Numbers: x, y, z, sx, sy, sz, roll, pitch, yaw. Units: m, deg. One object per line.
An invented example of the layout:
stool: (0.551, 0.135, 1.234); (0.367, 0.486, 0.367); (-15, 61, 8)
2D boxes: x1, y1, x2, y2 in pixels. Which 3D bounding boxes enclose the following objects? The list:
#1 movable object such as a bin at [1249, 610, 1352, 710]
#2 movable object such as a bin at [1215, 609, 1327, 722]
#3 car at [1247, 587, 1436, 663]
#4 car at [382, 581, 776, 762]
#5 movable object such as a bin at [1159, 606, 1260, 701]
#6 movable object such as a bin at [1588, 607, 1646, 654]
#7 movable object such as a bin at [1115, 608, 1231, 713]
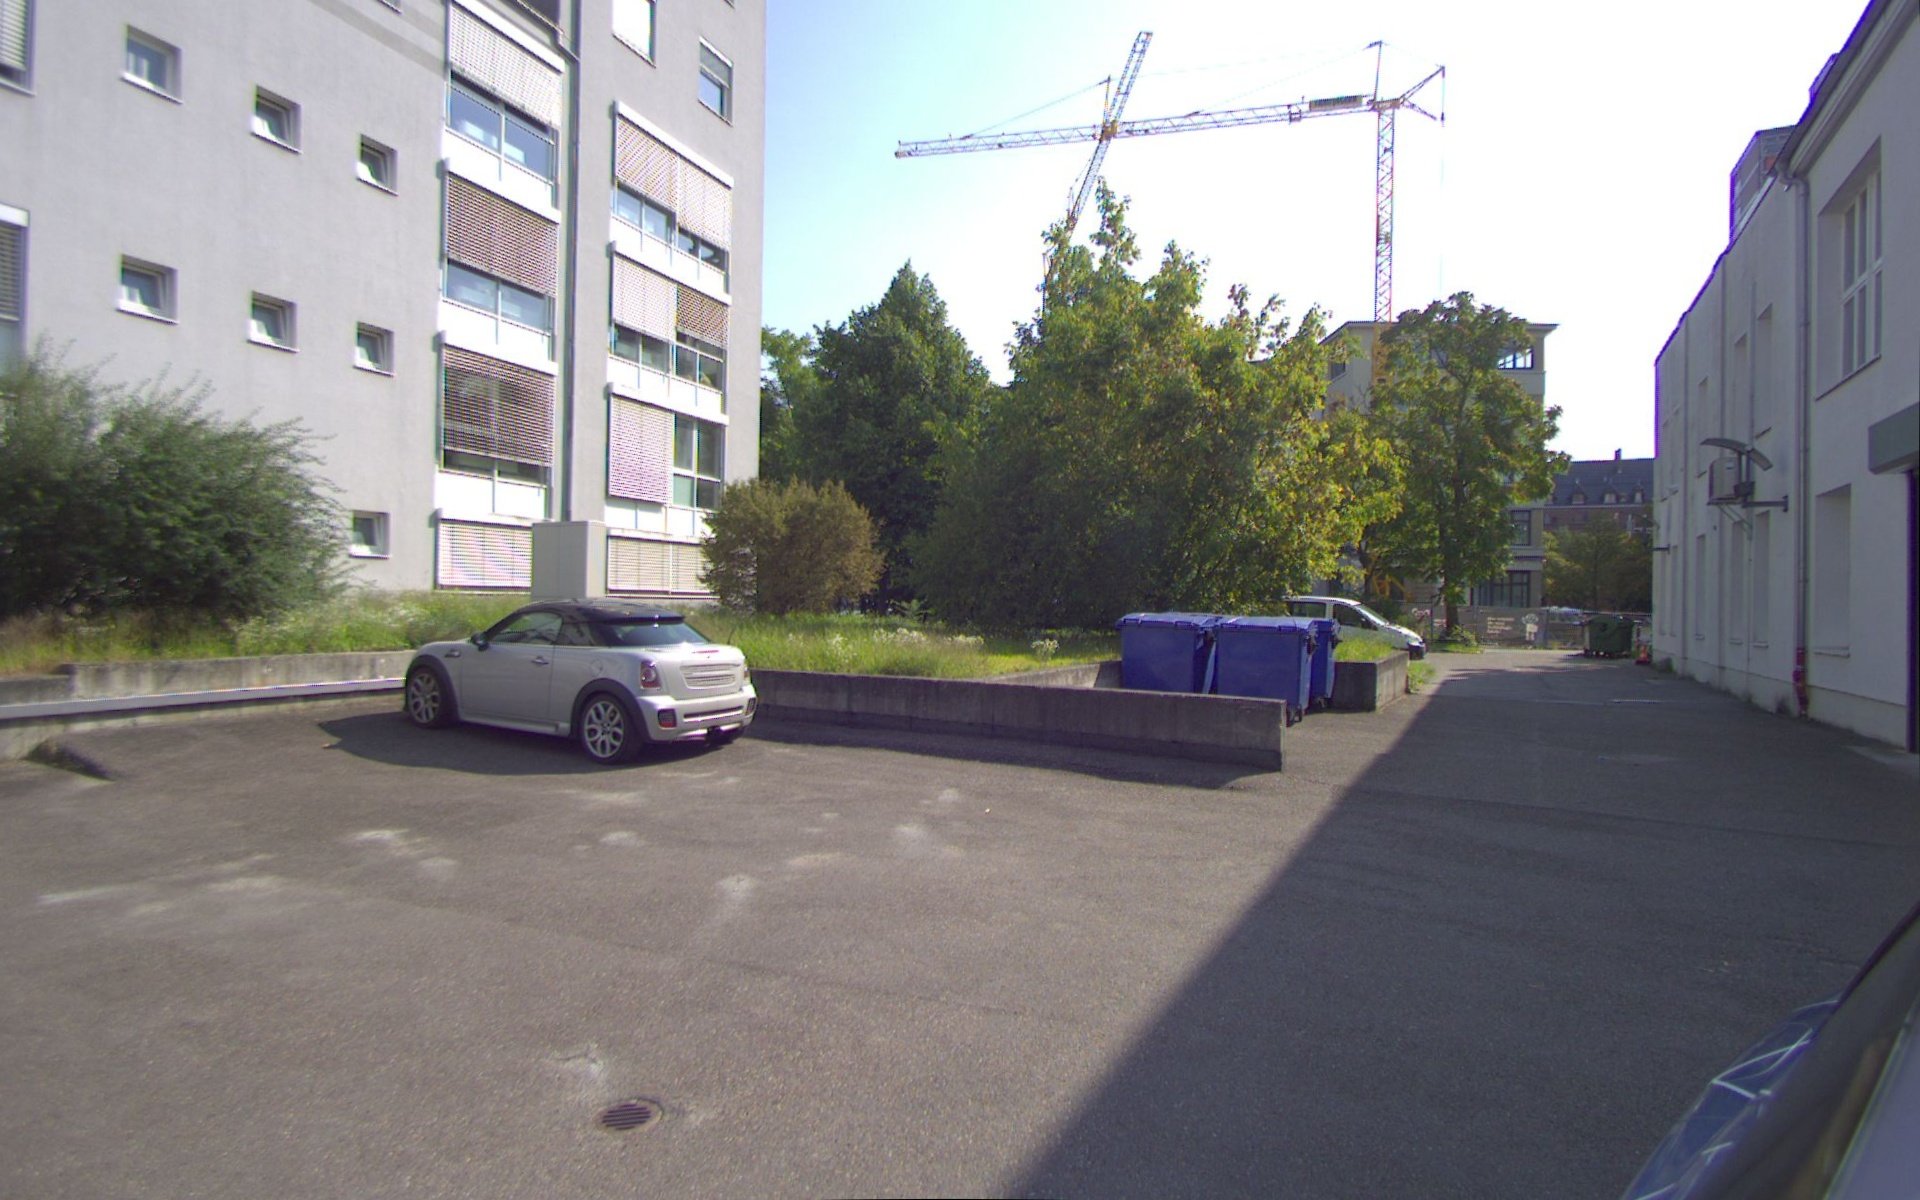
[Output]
movable object such as a bin: (4.931, 0.822, 14.627); (1.190, 1.344, 1.261); (1, -1, 30)
movable object such as a bin: (4.106, 0.818, 13.318); (1.203, 1.368, 1.262); (1, -1, 28)
car: (10.832, 0.660, 28.846); (4.757, 1.956, 1.887); (1, -1, 32)
car: (-3.742, 0.588, 9.910); (3.547, 1.456, 1.643); (1, 0, 27)
movable object such as a bin: (3.797, 0.773, 15.362); (1.190, 1.344, 1.261); (1, -1, 30)
movable object such as a bin: (21.655, 0.982, 33.411); (1.513, 1.484, 1.261); (1, -1, 30)
movable object such as a bin: (2.958, 0.798, 14.009); (1.247, 1.344, 1.261); (1, -1, 30)
